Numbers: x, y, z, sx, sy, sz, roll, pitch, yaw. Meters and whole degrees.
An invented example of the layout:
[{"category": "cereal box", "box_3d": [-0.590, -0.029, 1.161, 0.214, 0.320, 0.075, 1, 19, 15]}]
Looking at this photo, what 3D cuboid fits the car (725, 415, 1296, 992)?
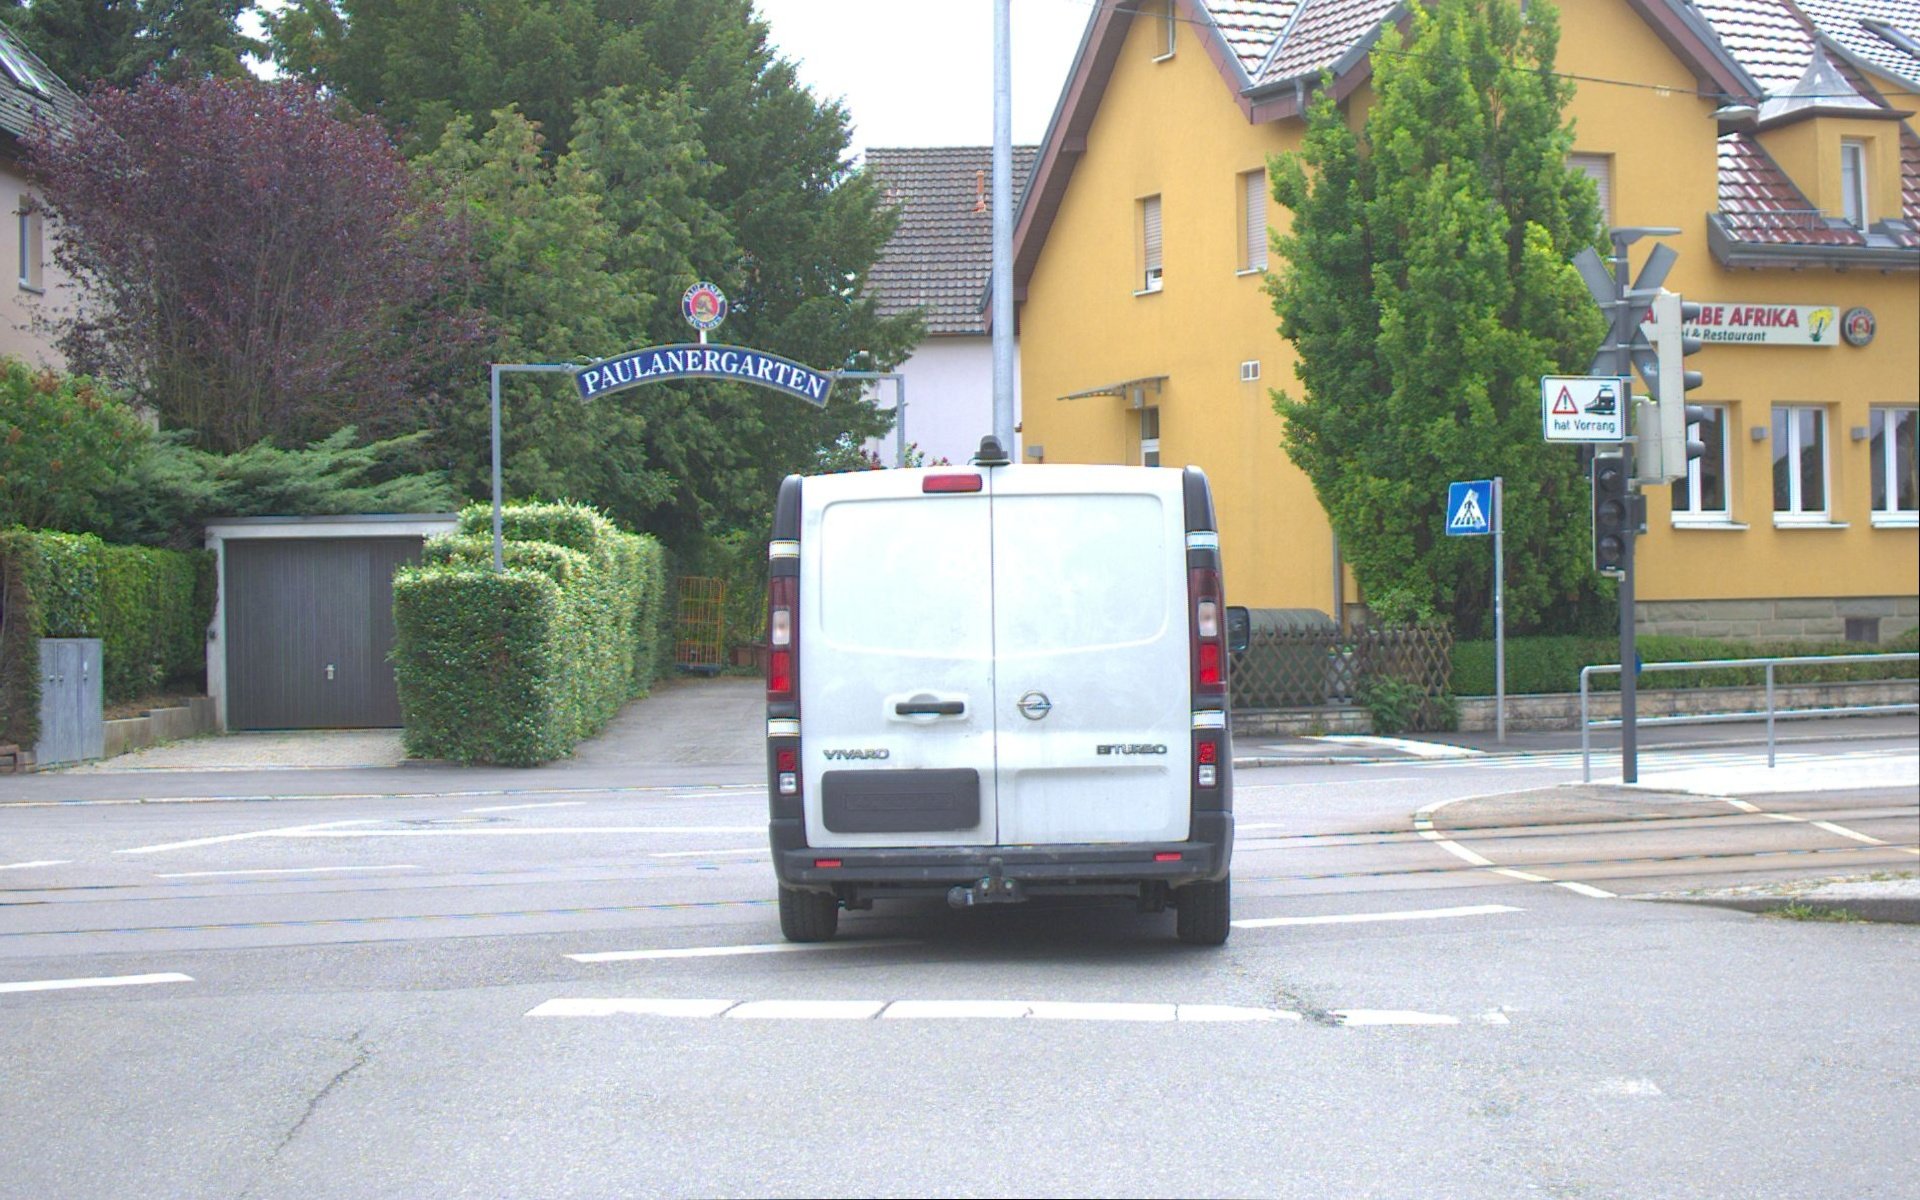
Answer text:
[{"category": "car", "box_3d": [0.042, 0.367, 15.447, 2.116, 2.127, 5.441, 0, 0, -3]}]
